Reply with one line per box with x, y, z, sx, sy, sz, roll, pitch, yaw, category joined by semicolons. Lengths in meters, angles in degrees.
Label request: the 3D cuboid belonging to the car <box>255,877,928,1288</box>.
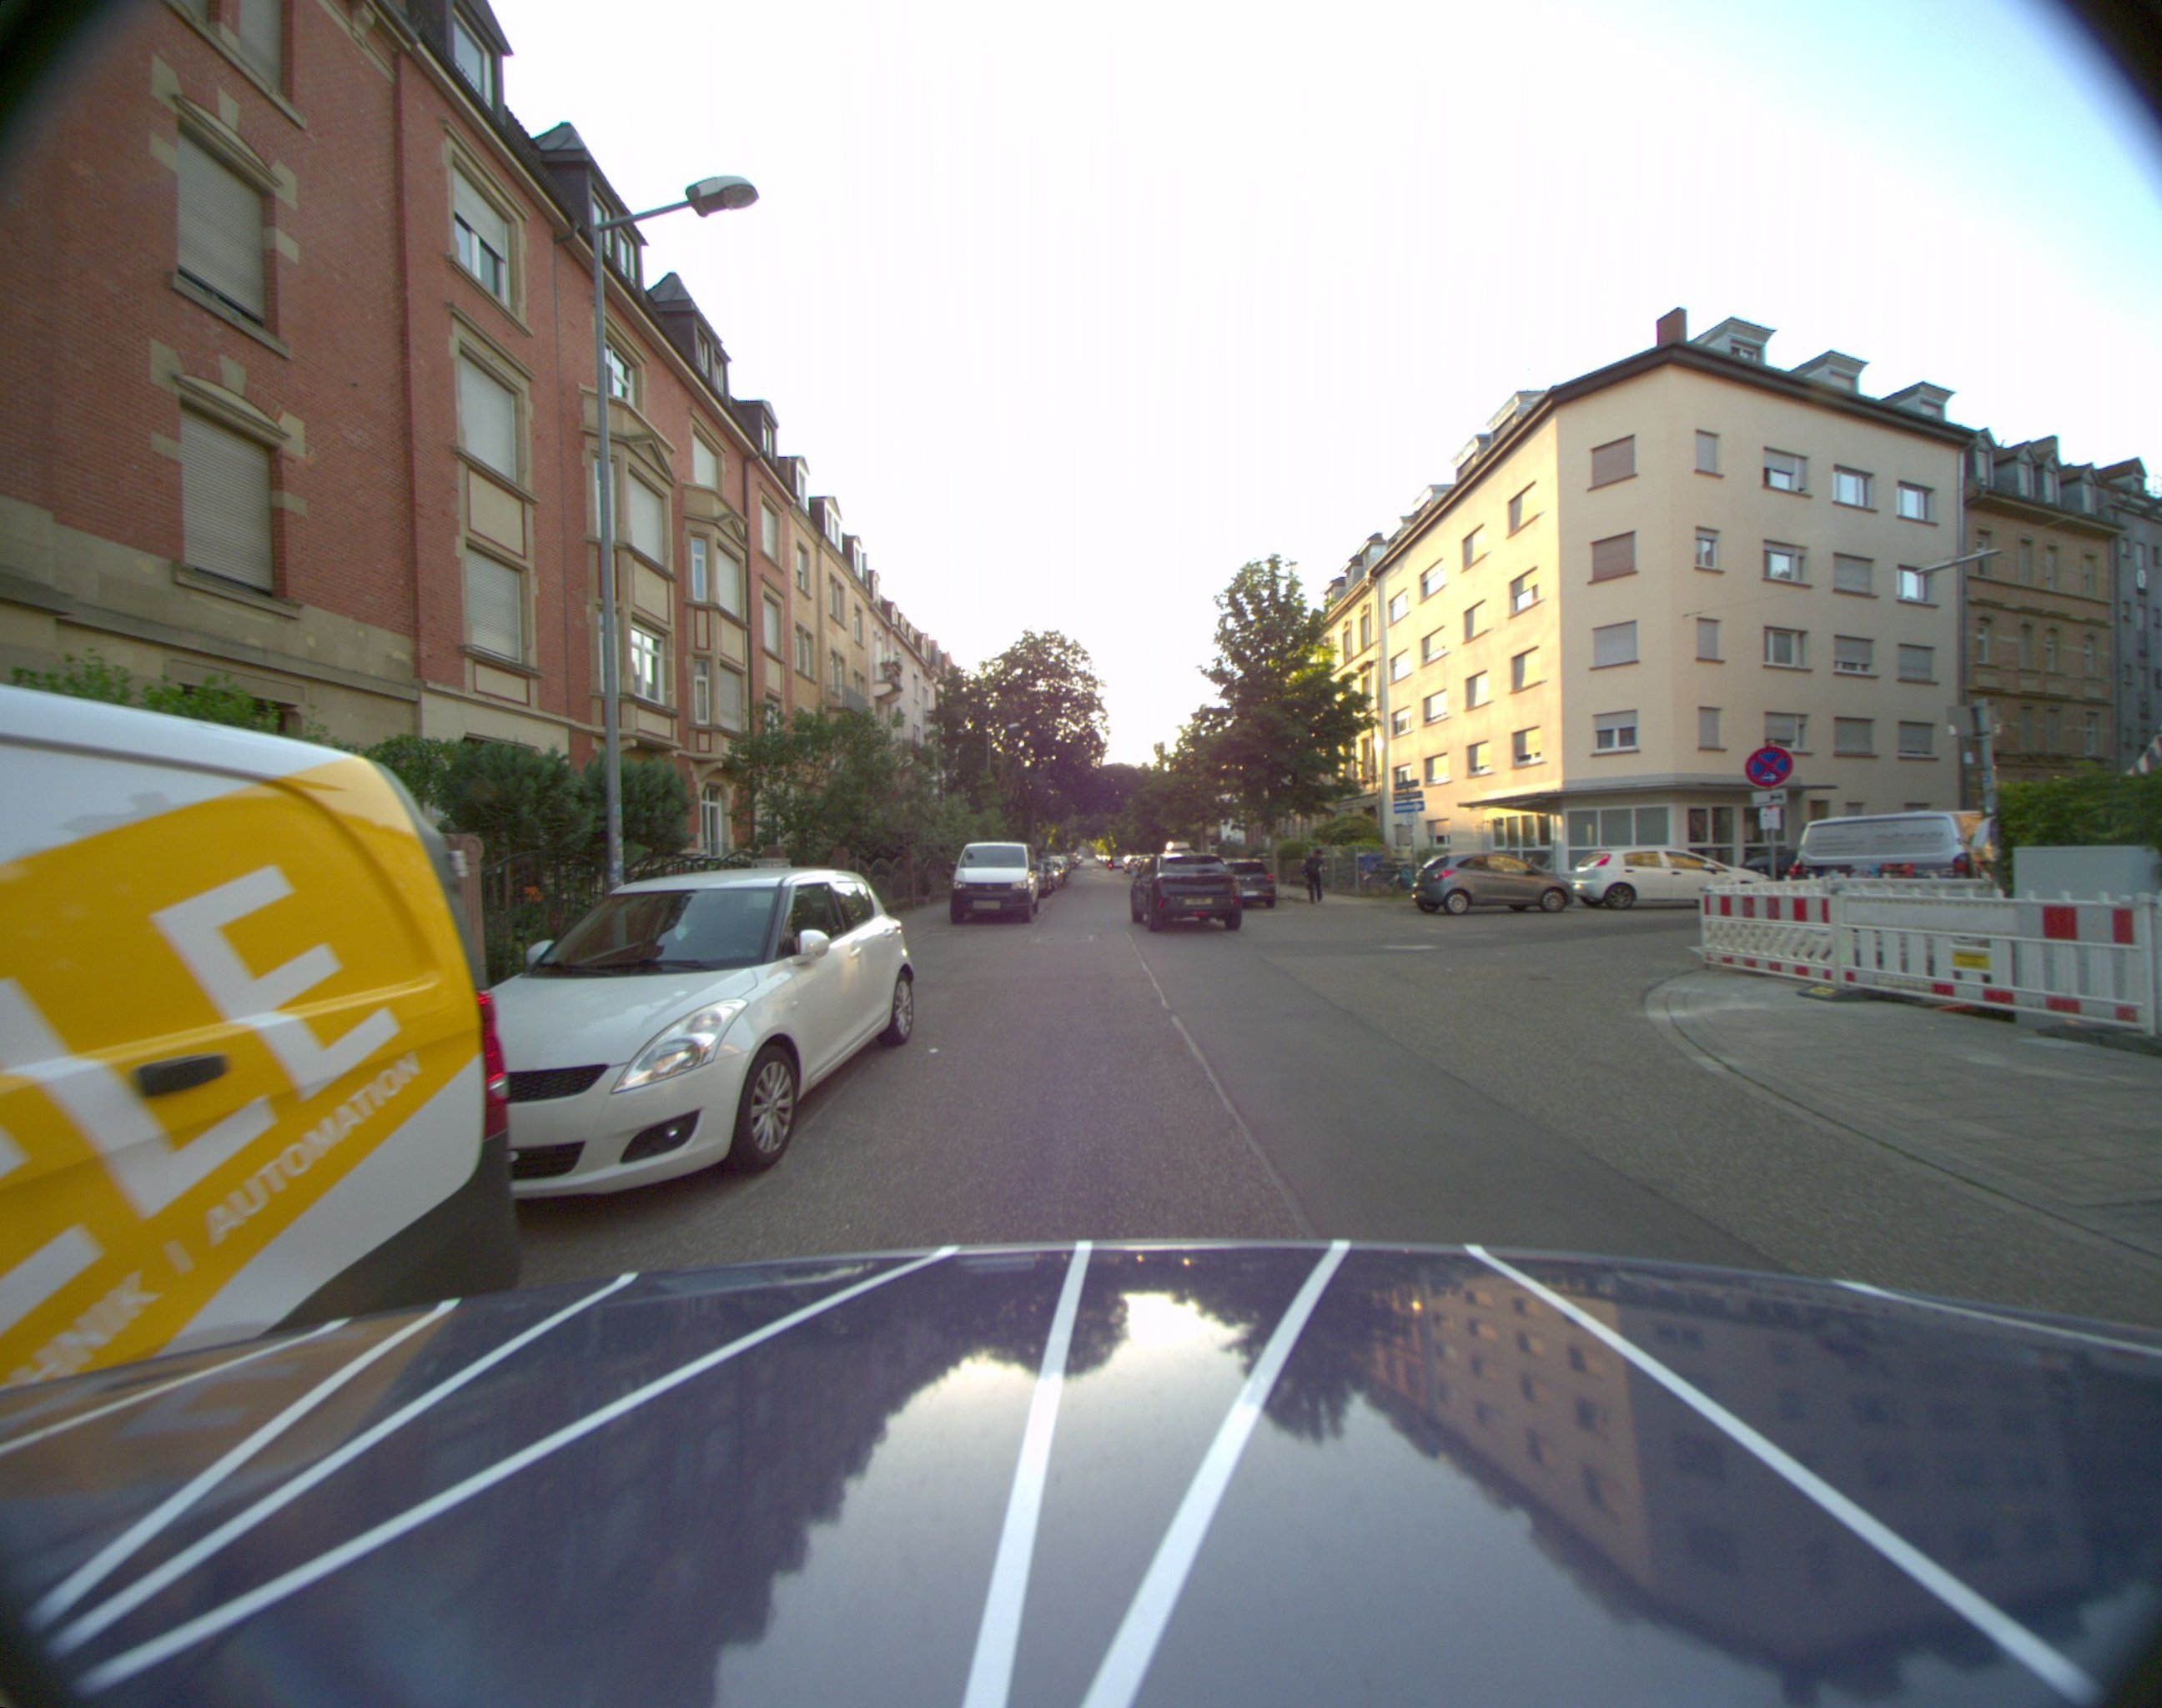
-2.345;0.983;4.945;1.678;1.468;3.862;-2;0;3;car

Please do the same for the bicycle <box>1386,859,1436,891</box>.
11.731;0.736;27.050;0.502;1.086;1.545;-3;1;-37;bicycle

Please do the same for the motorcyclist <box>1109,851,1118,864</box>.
3.642;0.377;85.775;0.891;1.496;0.970;2;1;10;motorcyclist

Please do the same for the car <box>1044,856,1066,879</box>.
-1.848;0.950;54.017;1.479;1.498;3.928;-2;0;-1;car

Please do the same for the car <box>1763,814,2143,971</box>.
13.235;0.449;11.536;5.300;1.963;2.204;-1;0;-23;car

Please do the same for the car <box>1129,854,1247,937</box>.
2.101;0.760;16.017;1.784;1.509;3.999;0;0;-2;car

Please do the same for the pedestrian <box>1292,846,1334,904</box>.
7.113;0.631;23.288;0.889;1.712;0.960;-2;1;35;pedestrian

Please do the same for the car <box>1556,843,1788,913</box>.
14.441;0.581;18.844;4.066;1.500;1.975;-3;0;13;car

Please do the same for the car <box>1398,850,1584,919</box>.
9.918;0.729;18.579;3.515;1.499;1.845;-2;0;0;car

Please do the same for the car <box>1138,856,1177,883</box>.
4.467;0.883;44.790;1.732;1.433;4.023;-2;0;-1;car

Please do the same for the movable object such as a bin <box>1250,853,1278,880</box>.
9.627;0.647;40.028;0.948;1.379;1.551;-3;0;-3;movable object such as a bin

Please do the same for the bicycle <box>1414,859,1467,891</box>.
12.844;0.742;27.183;0.386;1.086;1.707;-3;1;-36;bicycle

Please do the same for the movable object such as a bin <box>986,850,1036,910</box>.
-2.268;0.809;25.118;1.415;1.867;2.324;1;1;0;movable object such as a bin

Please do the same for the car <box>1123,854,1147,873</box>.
4.958;0.851;70.298;1.677;1.627;3.940;-2;0;-2;car

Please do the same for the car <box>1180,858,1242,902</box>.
4.782;0.903;28.381;1.746;1.412;4.143;-2;0;3;car

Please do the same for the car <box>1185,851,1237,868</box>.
11.634;0.470;68.113;4.412;1.333;1.626;-2;0;1;car

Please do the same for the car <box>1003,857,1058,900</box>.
-2.004;0.955;31.187;1.724;1.542;4.325;-2;0;3;car

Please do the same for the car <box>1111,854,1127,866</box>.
5.232;0.814;104.239;1.953;1.484;3.738;-2;0;0;car

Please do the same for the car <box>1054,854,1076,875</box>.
-1.374;0.841;64.049;1.737;1.692;4.167;-2;0;-1;car

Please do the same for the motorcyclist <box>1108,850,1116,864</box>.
3.478;0.378;85.013;0.788;1.531;0.546;2;1;10;motorcyclist

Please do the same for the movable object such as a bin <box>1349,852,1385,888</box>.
11.241;0.622;29.891;0.868;1.344;1.398;-3;1;2;movable object such as a bin

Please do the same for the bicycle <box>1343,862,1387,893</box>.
10.101;0.827;27.099;0.689;1.019;1.931;-3;0;-5;bicycle

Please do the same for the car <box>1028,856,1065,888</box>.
-1.827;0.936;40.940;1.590;1.516;3.603;-3;0;3;car

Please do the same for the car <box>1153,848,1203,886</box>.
4.841;0.620;38.541;1.866;1.769;4.622;-2;0;-1;car

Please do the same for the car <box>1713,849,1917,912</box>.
18.827;0.641;19.553;4.082;1.430;1.996;-1;0;-16;car

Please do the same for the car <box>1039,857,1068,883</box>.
-1.724;0.997;48.805;1.737;1.498;4.163;-2;0;-1;car

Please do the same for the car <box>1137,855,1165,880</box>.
4.540;0.841;49.506;1.441;1.485;3.298;-2;0;-1;car

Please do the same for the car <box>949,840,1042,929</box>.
-2.108;0.695;20.171;1.866;2.027;5.544;0;0;-1;car

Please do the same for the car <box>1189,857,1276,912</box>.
4.581;0.877;23.556;1.679;1.453;4.462;-2;0;-1;car

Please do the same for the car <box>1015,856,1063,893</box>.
-1.931;0.931;36.441;1.760;1.573;4.842;-3;0;3;car

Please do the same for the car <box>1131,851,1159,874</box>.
4.960;0.659;59.001;1.866;1.653;4.021;-2;0;1;car

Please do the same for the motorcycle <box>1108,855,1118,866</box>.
3.627;0.750;85.561;0.848;1.202;2.076;2;1;10;motorcycle

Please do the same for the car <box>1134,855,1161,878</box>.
4.673;0.834;53.669;1.682;1.490;3.626;-2;0;2;car

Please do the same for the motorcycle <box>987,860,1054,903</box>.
-2.149;0.953;26.984;2.099;1.474;1.130;0;1;-33;motorcycle
